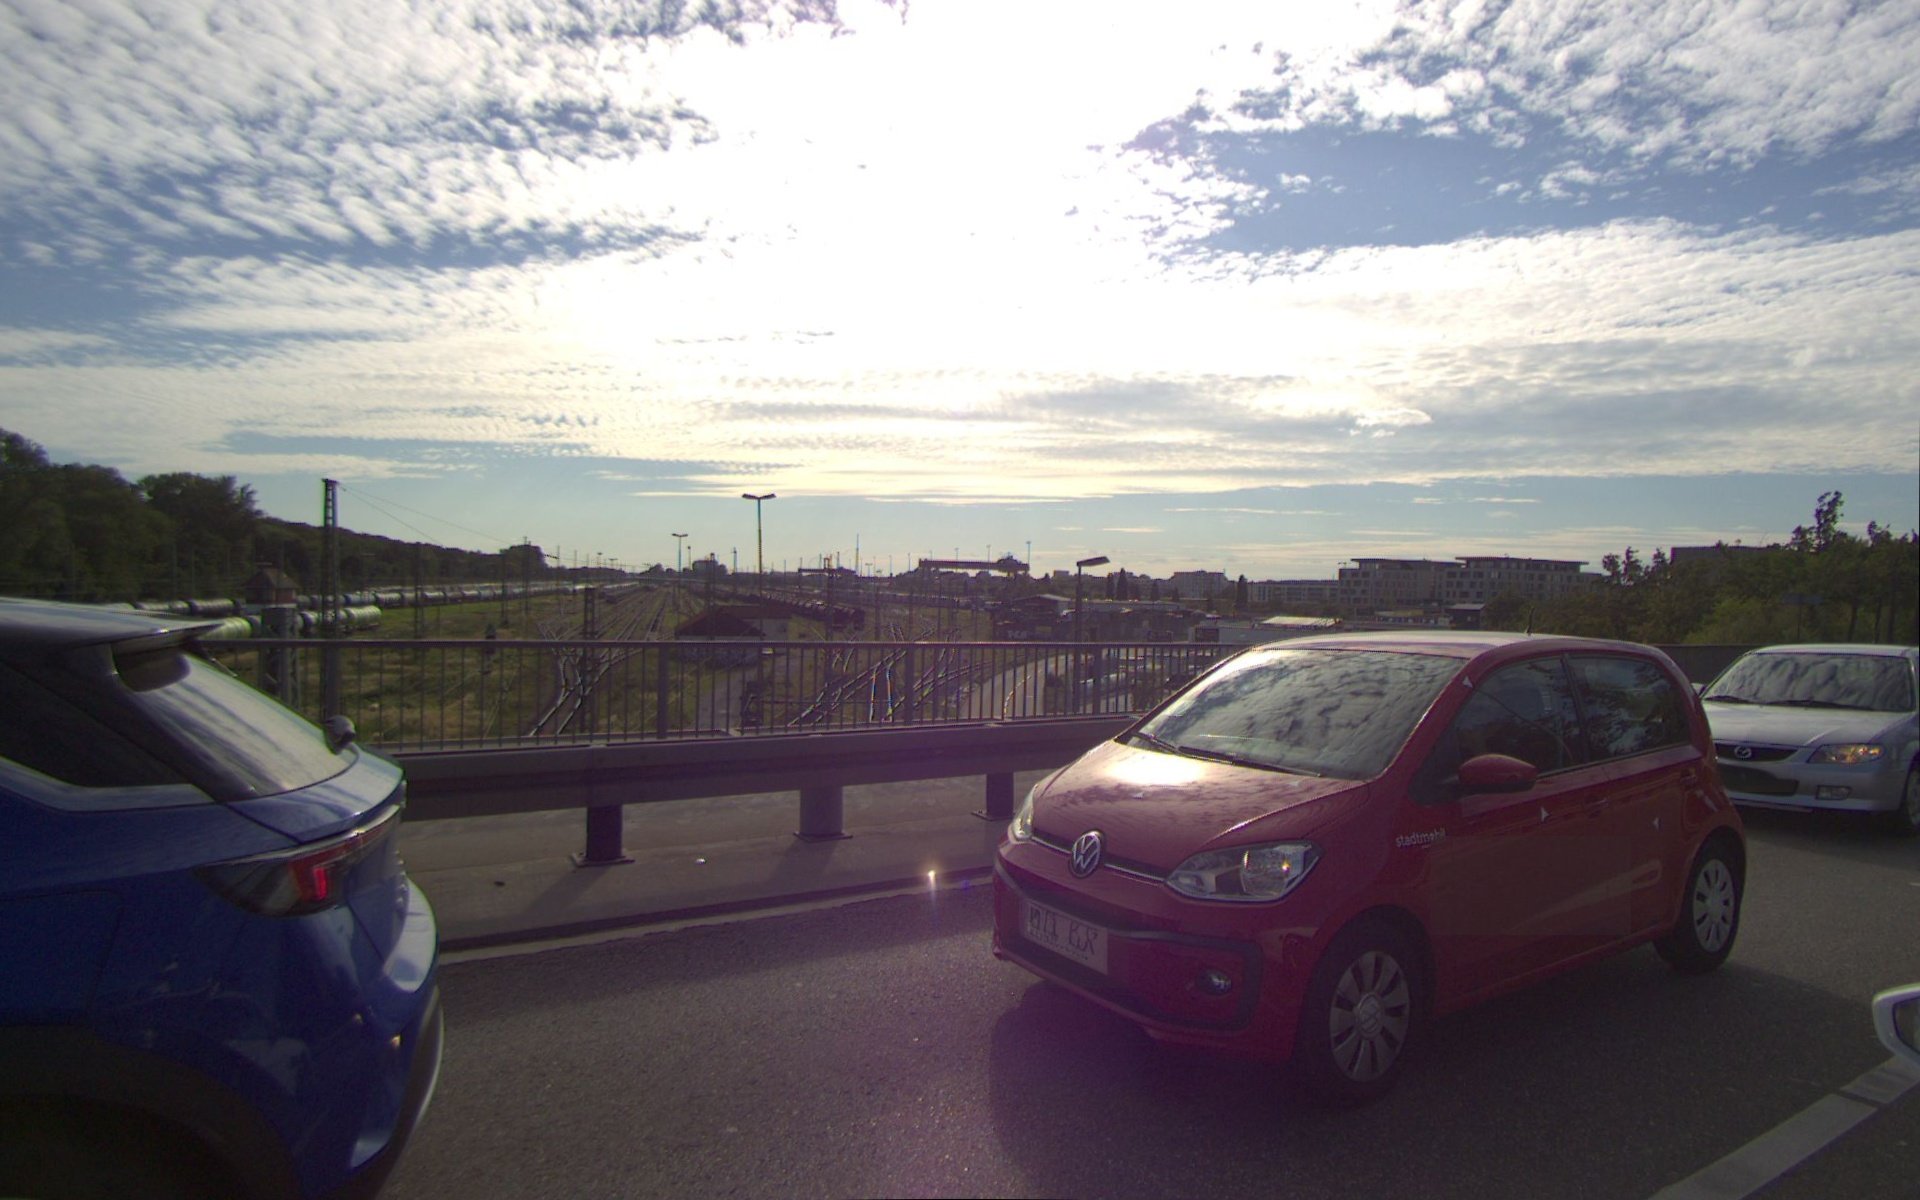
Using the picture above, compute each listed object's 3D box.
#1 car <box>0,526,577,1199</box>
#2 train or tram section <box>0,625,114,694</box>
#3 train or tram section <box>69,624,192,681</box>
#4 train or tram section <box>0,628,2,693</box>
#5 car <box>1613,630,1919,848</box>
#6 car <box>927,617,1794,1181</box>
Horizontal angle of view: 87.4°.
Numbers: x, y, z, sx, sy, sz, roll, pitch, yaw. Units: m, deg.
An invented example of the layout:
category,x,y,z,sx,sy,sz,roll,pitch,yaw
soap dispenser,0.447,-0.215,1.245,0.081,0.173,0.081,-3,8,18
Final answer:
category,x,y,z,sx,sy,sz,roll,pitch,yaw
car,-2.872,0.644,1.638,3.961,1.540,1.790,2,-2,-30
train or tram section,-72.924,4.452,79.479,3.048,4.774,16.680,2,-1,-18
train or tram section,-78.223,4.772,95.322,3.048,4.774,16.680,2,-1,-18
train or tram section,-67.629,4.257,63.689,3.048,4.774,16.680,2,-1,-18
car,7.604,1.036,8.776,4.222,1.474,1.721,2,-3,-35
car,1.854,0.848,4.319,3.694,1.484,1.591,2,-2,-32
